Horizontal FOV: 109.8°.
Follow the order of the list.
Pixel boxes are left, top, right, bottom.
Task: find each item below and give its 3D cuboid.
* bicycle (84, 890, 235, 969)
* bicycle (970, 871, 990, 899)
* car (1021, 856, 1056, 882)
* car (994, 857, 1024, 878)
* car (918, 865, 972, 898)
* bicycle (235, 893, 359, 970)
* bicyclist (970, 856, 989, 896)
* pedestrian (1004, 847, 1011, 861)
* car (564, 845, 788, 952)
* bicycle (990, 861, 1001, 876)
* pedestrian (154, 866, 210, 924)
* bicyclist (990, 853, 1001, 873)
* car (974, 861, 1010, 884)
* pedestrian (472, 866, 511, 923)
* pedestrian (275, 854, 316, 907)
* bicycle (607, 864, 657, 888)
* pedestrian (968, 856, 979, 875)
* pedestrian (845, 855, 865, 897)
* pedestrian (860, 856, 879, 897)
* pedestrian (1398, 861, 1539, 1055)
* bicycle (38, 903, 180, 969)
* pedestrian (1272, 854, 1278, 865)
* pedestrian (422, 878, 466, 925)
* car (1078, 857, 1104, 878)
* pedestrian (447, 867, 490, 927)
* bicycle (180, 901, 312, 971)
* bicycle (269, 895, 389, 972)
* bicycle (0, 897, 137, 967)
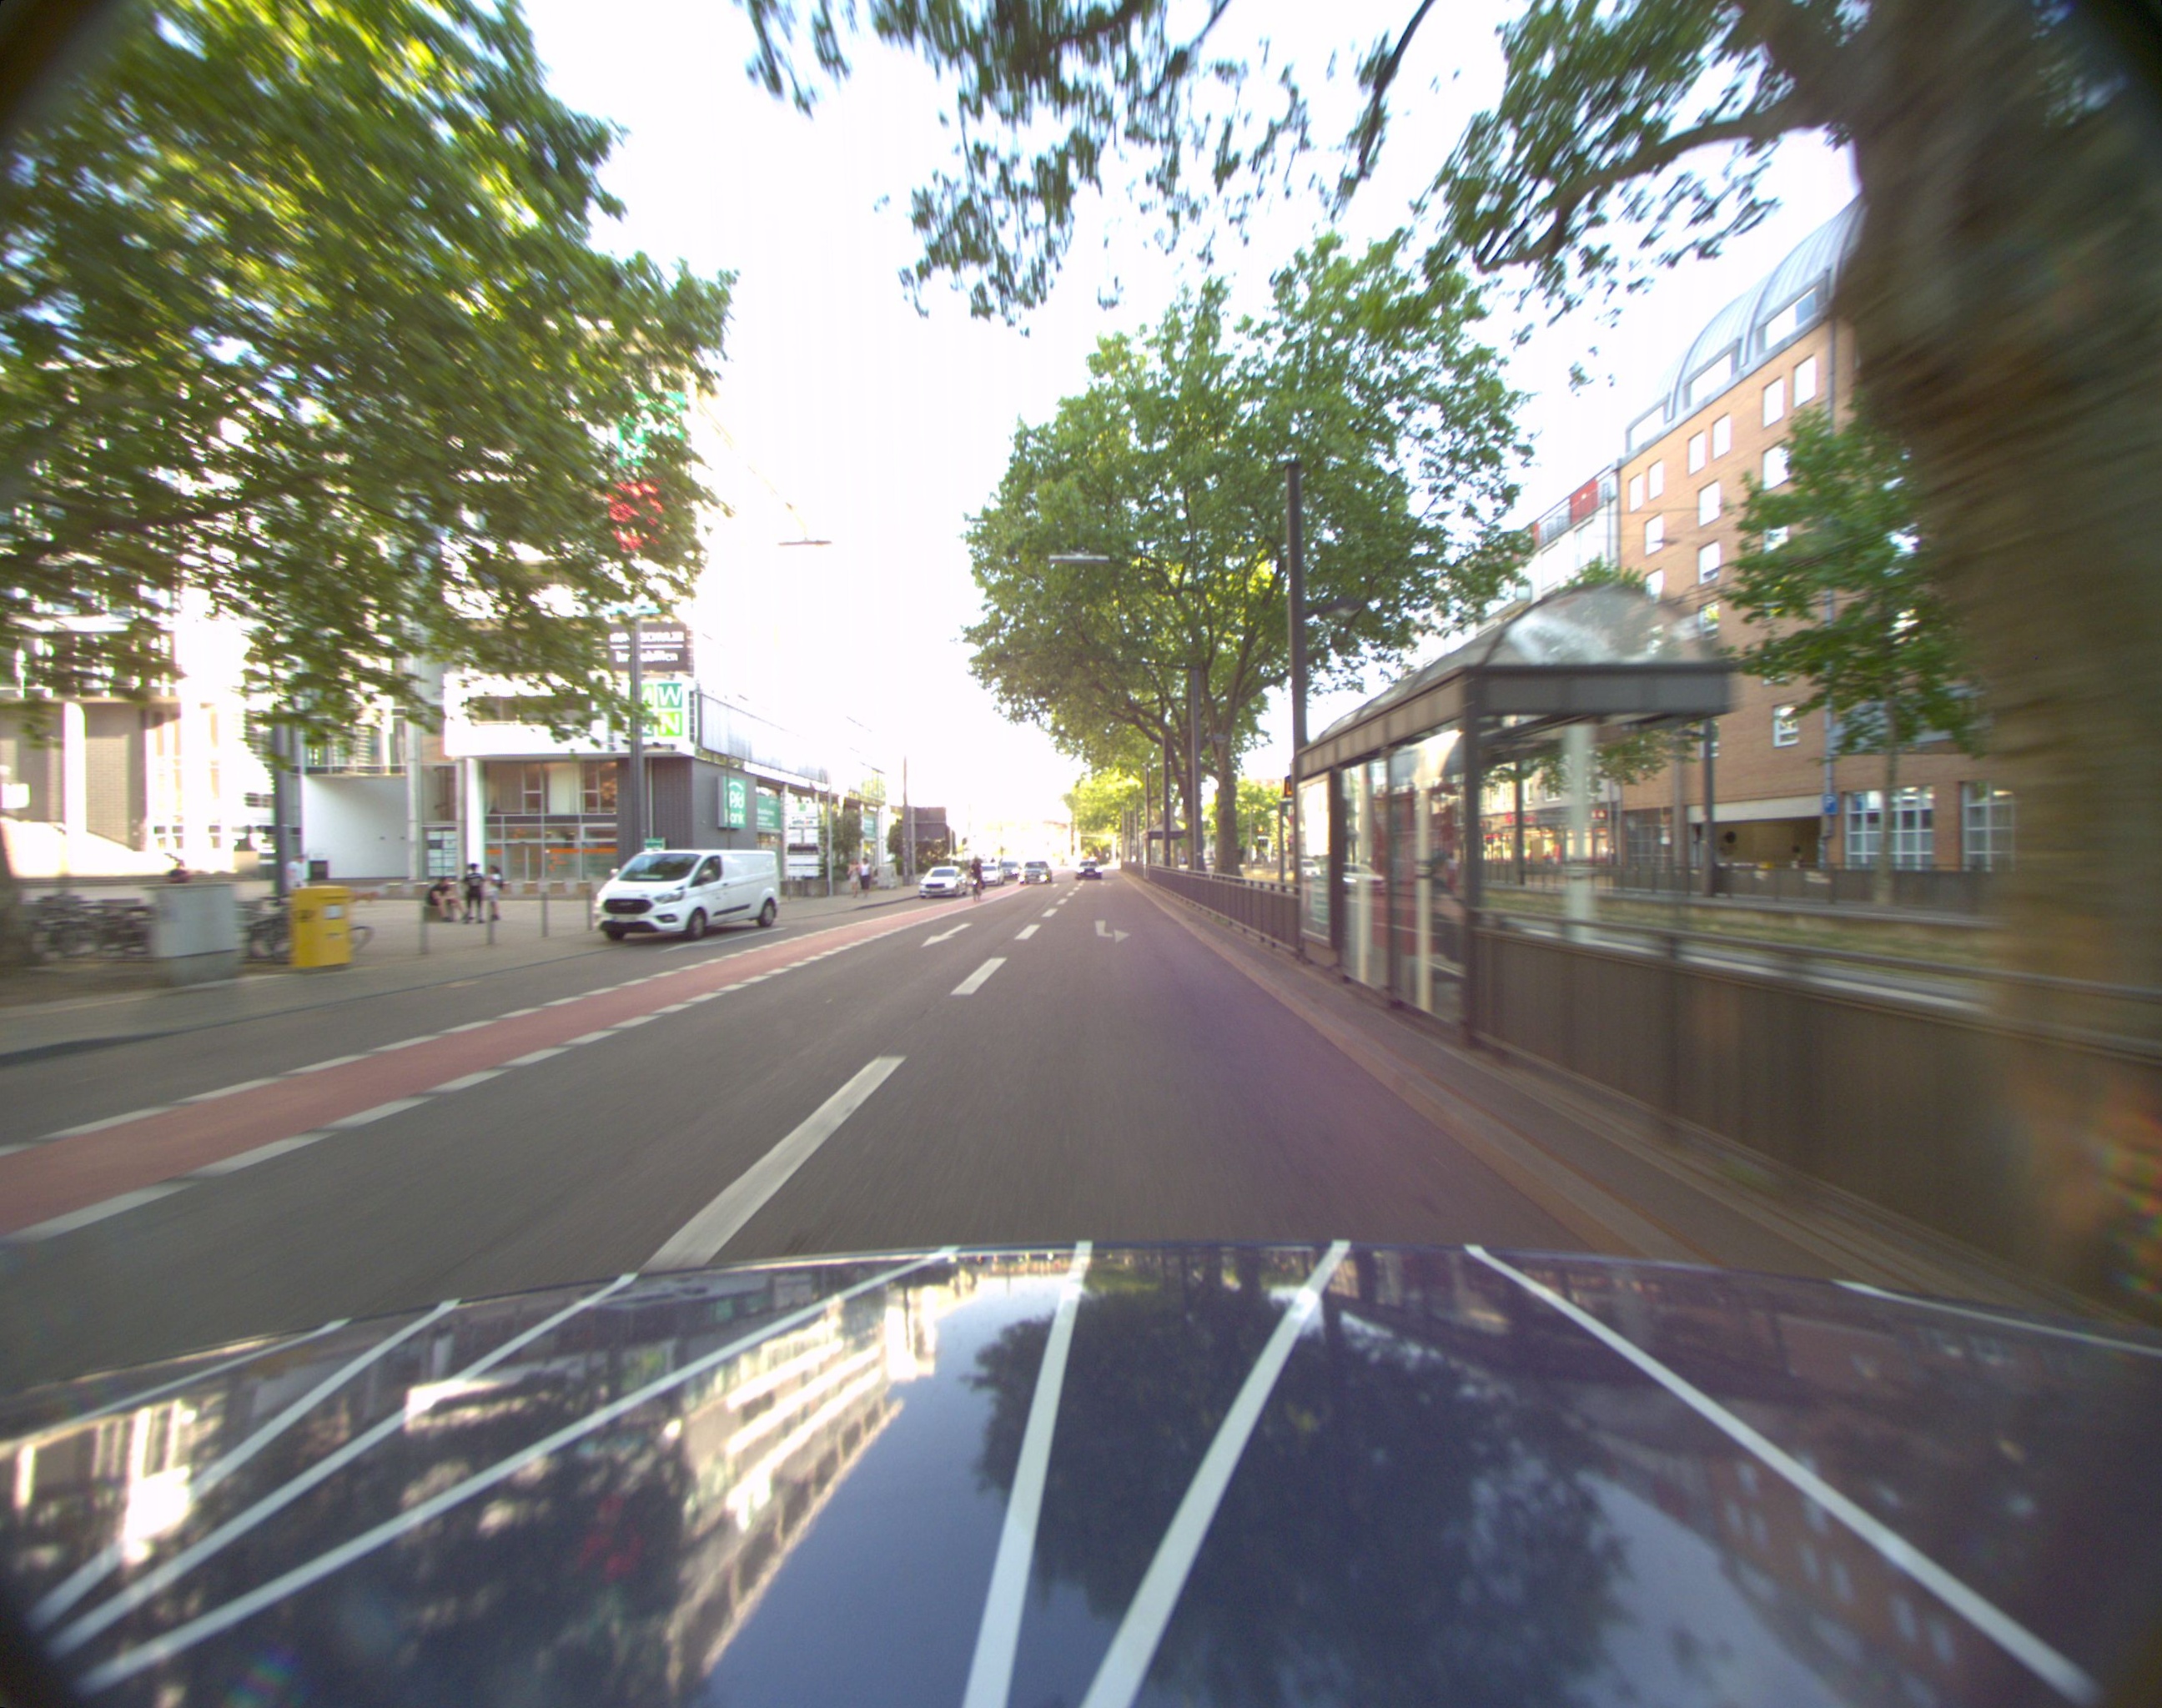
[{"bbox_3d":[-15.666,1.248,12.986,0.460,1.172,1.719,0,0,0],"label":"bicycle"},{"bbox_3d":[-4.352,1.317,32.729,0.551,1.114,2.127,0,0,0],"label":"bicycle"},{"bbox_3d":[-2.822,0.991,51.447,1.785,1.628,4.023,0,0,6],"label":"car"},{"bbox_3d":[-5.839,1.076,61.920,1.998,1.586,4.000,-1,0,1],"label":"car"},{"bbox_3d":[-6.513,1.299,36.814,1.785,1.411,4.022,0,0,1],"label":"car"},{"bbox_3d":[-13.475,1.300,13.117,0.514,1.151,1.539,-1,0,0],"label":"bicycle"},{"bbox_3d":[-4.364,0.945,32.737,0.752,1.678,0.714,0,1,-1],"label":"bicyclist"},{"bbox_3d":[-8.736,0.010,90.232,0.693,1.573,0.664,2,1,2],"label":"pedestrian"},{"bbox_3d":[-9.122,0.893,17.827,2.128,2.121,5.291,0,0,4],"label":"car"},{"bbox_3d":[-7.519,1.245,67.122,0.665,1.268,1.928,2,0,2],"label":"bicycle"},{"bbox_3d":[-23.040,1.031,19.484,0.712,1.447,0.601,0,0,1],"label":"pedestrian"},{"bbox_3d":[-7.512,0.778,67.077,0.743,1.752,1.209,2,1,2],"label":"bicyclist"},{"bbox_3d":[-5.843,1.199,50.189,1.671,1.455,3.870,0,0,4],"label":"car"},{"bbox_3d":[-15.938,1.091,20.558,0.516,1.514,0.636,0,0,8],"label":"pedestrian"},{"bbox_3d":[-25.243,0.844,24.426,0.540,1.666,0.723,0,1,1],"label":"pedestrian"},{"bbox_3d":[-20.797,1.013,35.181,1.879,1.057,0.700,0,1,0],"label":"bicycle"},{"bbox_3d":[-9.059,0.969,64.067,0.753,1.565,0.912,-1,1,4],"label":"pedestrian"},{"bbox_3d":[-9.987,0.960,33.537,0.591,1.798,0.896,0,1,1],"label":"pedestrian"},{"bbox_3d":[-9.329,0.971,33.560,0.564,1.798,0.891,0,1,1],"label":"pedestrian"},{"bbox_3d":[2.946,0.764,5.834,0.735,1.379,0.640,-2,1,3],"label":"pedestrian"},{"bbox_3d":[-16.409,1.365,12.883,0.460,0.953,1.510,0,0,0],"label":"bicycle"},{"bbox_3d":[30.949,0.920,121.391,0.602,1.694,0.670,-1,2,40],"label":"pedestrian"},{"bbox_3d":[-17.187,1.268,20.510,0.615,1.214,0.677,0,0,5],"label":"pedestrian"},{"bbox_3d":[0.694,0.954,56.551,1.827,1.416,4.346,-2,0,-1],"label":"car"},{"bbox_3d":[-15.934,1.098,19.777,0.577,1.534,0.638,0,0,8],"label":"pedestrian"},{"bbox_3d":[-14.299,1.380,13.078,0.460,1.023,1.627,-1,0,0],"label":"bicycle"},{"bbox_3d":[-12.846,1.333,13.043,0.514,1.151,1.539,-1,0,0],"label":"bicycle"},{"bbox_3d":[-17.813,1.327,13.331,0.459,1.071,1.511,-1,0,10],"label":"bicycle"}]
